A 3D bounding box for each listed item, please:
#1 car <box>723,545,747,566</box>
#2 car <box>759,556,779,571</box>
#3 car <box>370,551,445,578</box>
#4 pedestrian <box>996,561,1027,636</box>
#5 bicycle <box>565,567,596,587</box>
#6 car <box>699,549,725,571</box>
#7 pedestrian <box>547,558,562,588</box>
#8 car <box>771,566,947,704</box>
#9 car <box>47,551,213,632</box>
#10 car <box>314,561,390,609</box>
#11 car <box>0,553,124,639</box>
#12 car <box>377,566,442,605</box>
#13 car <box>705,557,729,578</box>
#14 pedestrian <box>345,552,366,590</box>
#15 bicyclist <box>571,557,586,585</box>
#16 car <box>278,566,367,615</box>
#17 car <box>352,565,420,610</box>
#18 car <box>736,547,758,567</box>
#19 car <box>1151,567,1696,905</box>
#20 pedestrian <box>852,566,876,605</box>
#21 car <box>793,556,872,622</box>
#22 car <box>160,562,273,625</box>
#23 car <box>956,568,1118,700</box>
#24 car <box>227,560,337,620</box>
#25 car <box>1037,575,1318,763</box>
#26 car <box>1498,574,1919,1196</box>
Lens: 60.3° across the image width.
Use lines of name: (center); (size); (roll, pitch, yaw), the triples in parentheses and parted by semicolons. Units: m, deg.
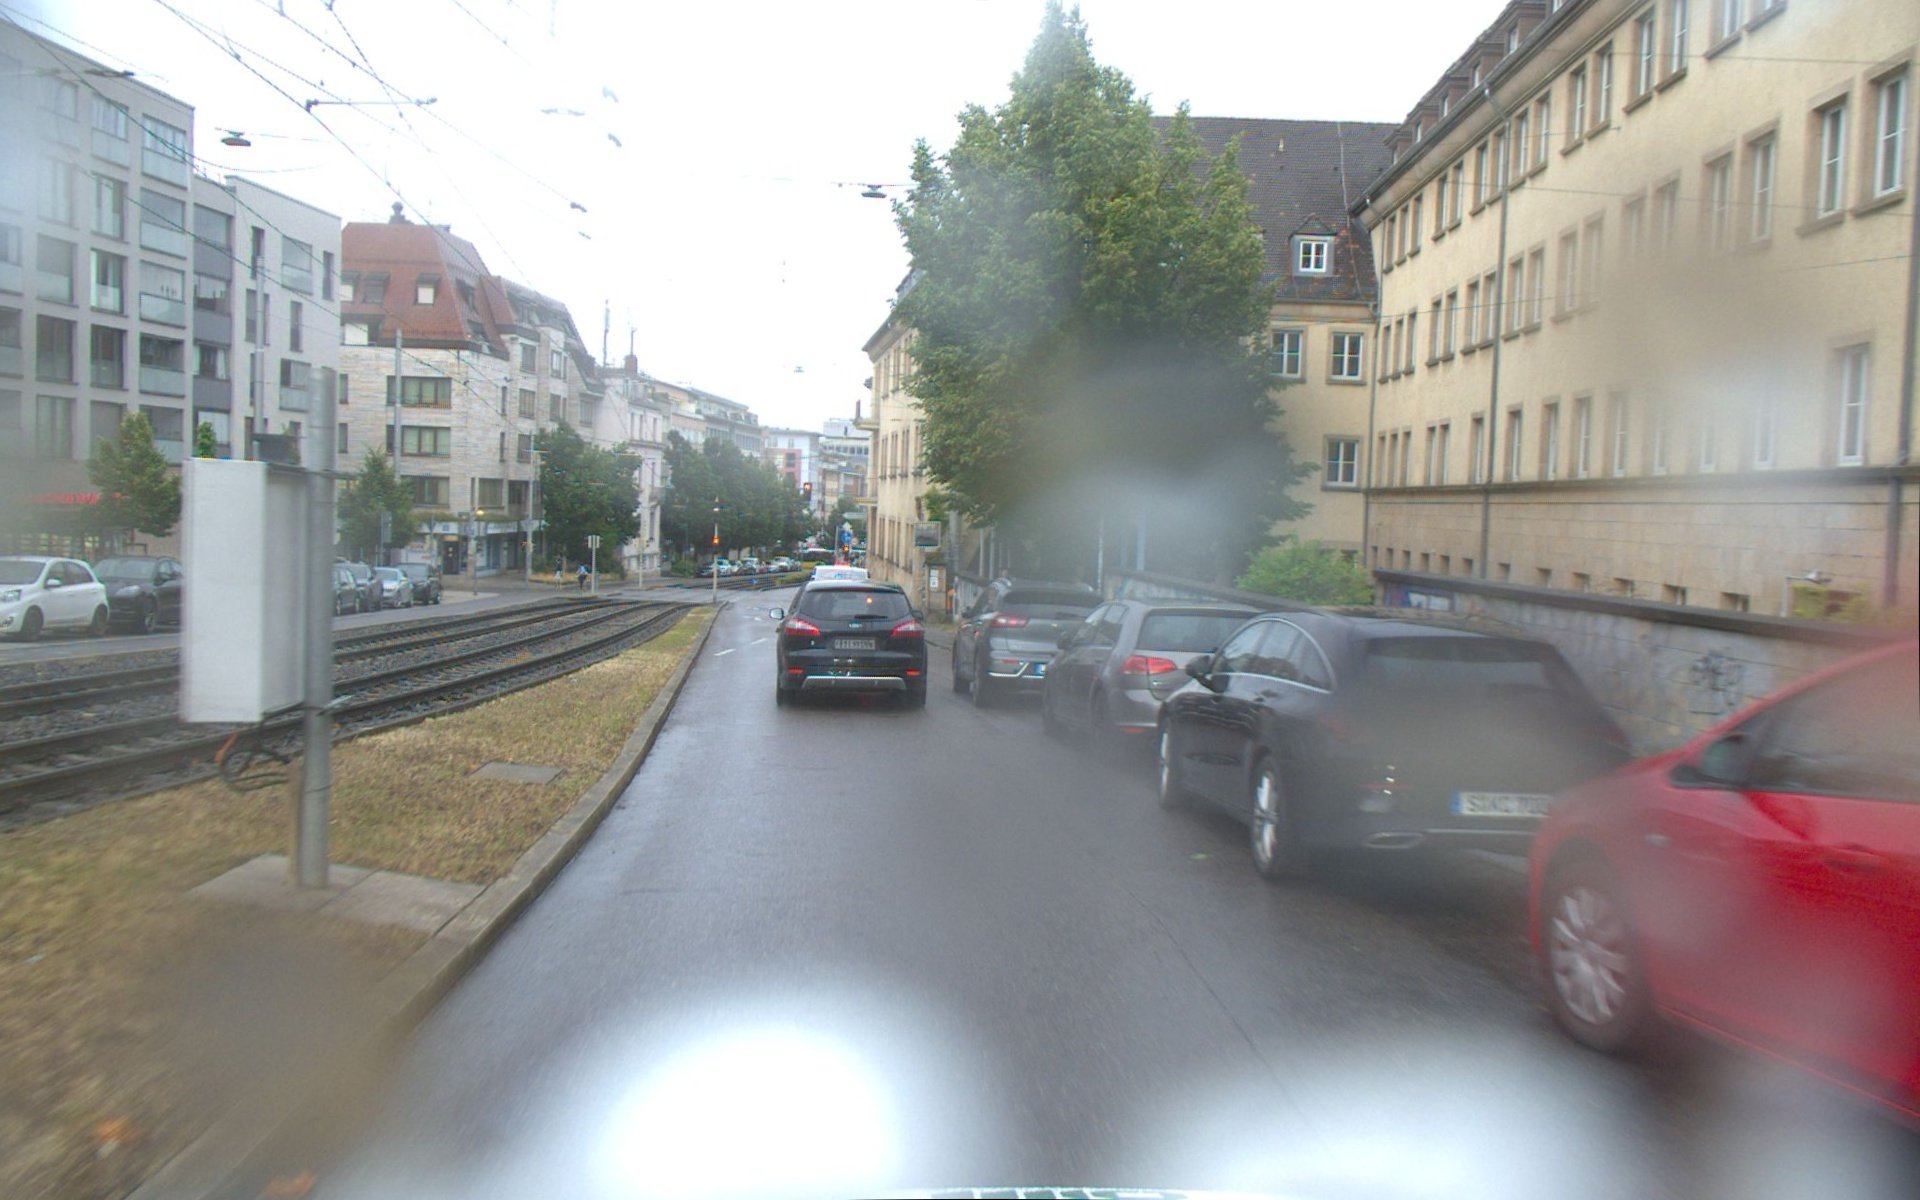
car: (-22.965, -4.544, 168.911); (1.954, 2.048, 3.998); (2, 1, -3)
car: (-22.296, -4.283, 193.134); (1.954, 1.691, 3.998); (2, 1, -3)
car: (-34.667, -2.215, 103.779); (4.048, 1.596, 1.824); (2, 1, 1)
pedestrian: (1.218, -0.036, 39.340); (0.620, 1.751, 0.710); (1, 0, -6)
bicycle: (-22.601, -1.357, 98.402); (1.788, 1.082, 0.450); (2, 1, -44)
car: (-23.408, -3.782, 156.024); (1.954, 2.048, 3.998); (2, 1, -3)
pedestrian: (-26.551, -1.784, 108.228); (0.889, 1.965, 0.823); (1, 1, -11)
car: (-1.355, 0.362, 20.622); (1.884, 1.505, 3.994); (1, 1, -8)
car: (-17.617, -0.203, 35.344); (1.732, 1.588, 4.399); (1, 1, -7)
car: (-20.326, -0.525, 55.393); (1.741, 1.530, 3.911); (1, 1, -11)
car: (-17.455, -0.112, 30.946); (1.729, 1.505, 3.734); (1, 1, 0)
car: (-22.184, -0.598, 66.770); (1.877, 1.530, 4.226); (1, 1, -11)
car: (-23.819, -3.216, 162.364); (1.954, 2.049, 3.998); (0, 1, -3)
pedestrian: (-33.680, -1.627, 92.108); (0.925, 2.048, 0.763); (1, 1, -11)
bicyclist: (-22.687, -1.712, 98.297); (0.696, 1.601, 0.455); (2, 1, -43)
car: (-19.465, -0.298, 50.619); (1.519, 1.386, 4.004); (2, 1, -7)
car: (-20.883, -0.471, 60.318); (1.741, 1.530, 4.073); (1, 1, -11)
car: (-23.168, -4.638, 179.866); (1.954, 2.048, 3.998); (2, 1, -3)
car: (2.345, 0.565, 9.639); (1.633, 1.502, 4.454); (0, 1, -4)
pedestrian: (-4.575, -0.713, 79.014); (1.026, 1.826, 0.900); (1, 1, -9)
car: (-3.547, -0.352, 46.829); (2.094, 1.775, 4.216); (1, 1, -3)
car: (-18.220, -0.169, 40.664); (1.519, 1.460, 3.446); (1, 1, -7)
car: (0.908, 0.364, 21.584); (1.633, 1.551, 4.105); (0, 1, -4)
car: (-18.643, -0.290, 45.669); (1.686, 1.539, 4.312); (1, 1, -7)
car: (1.874, 0.526, 15.494); (1.634, 1.502, 4.103); (0, 1, -7)
car: (3.133, 0.720, 4.294); (1.634, 1.502, 4.059); (2, 1, -8)
